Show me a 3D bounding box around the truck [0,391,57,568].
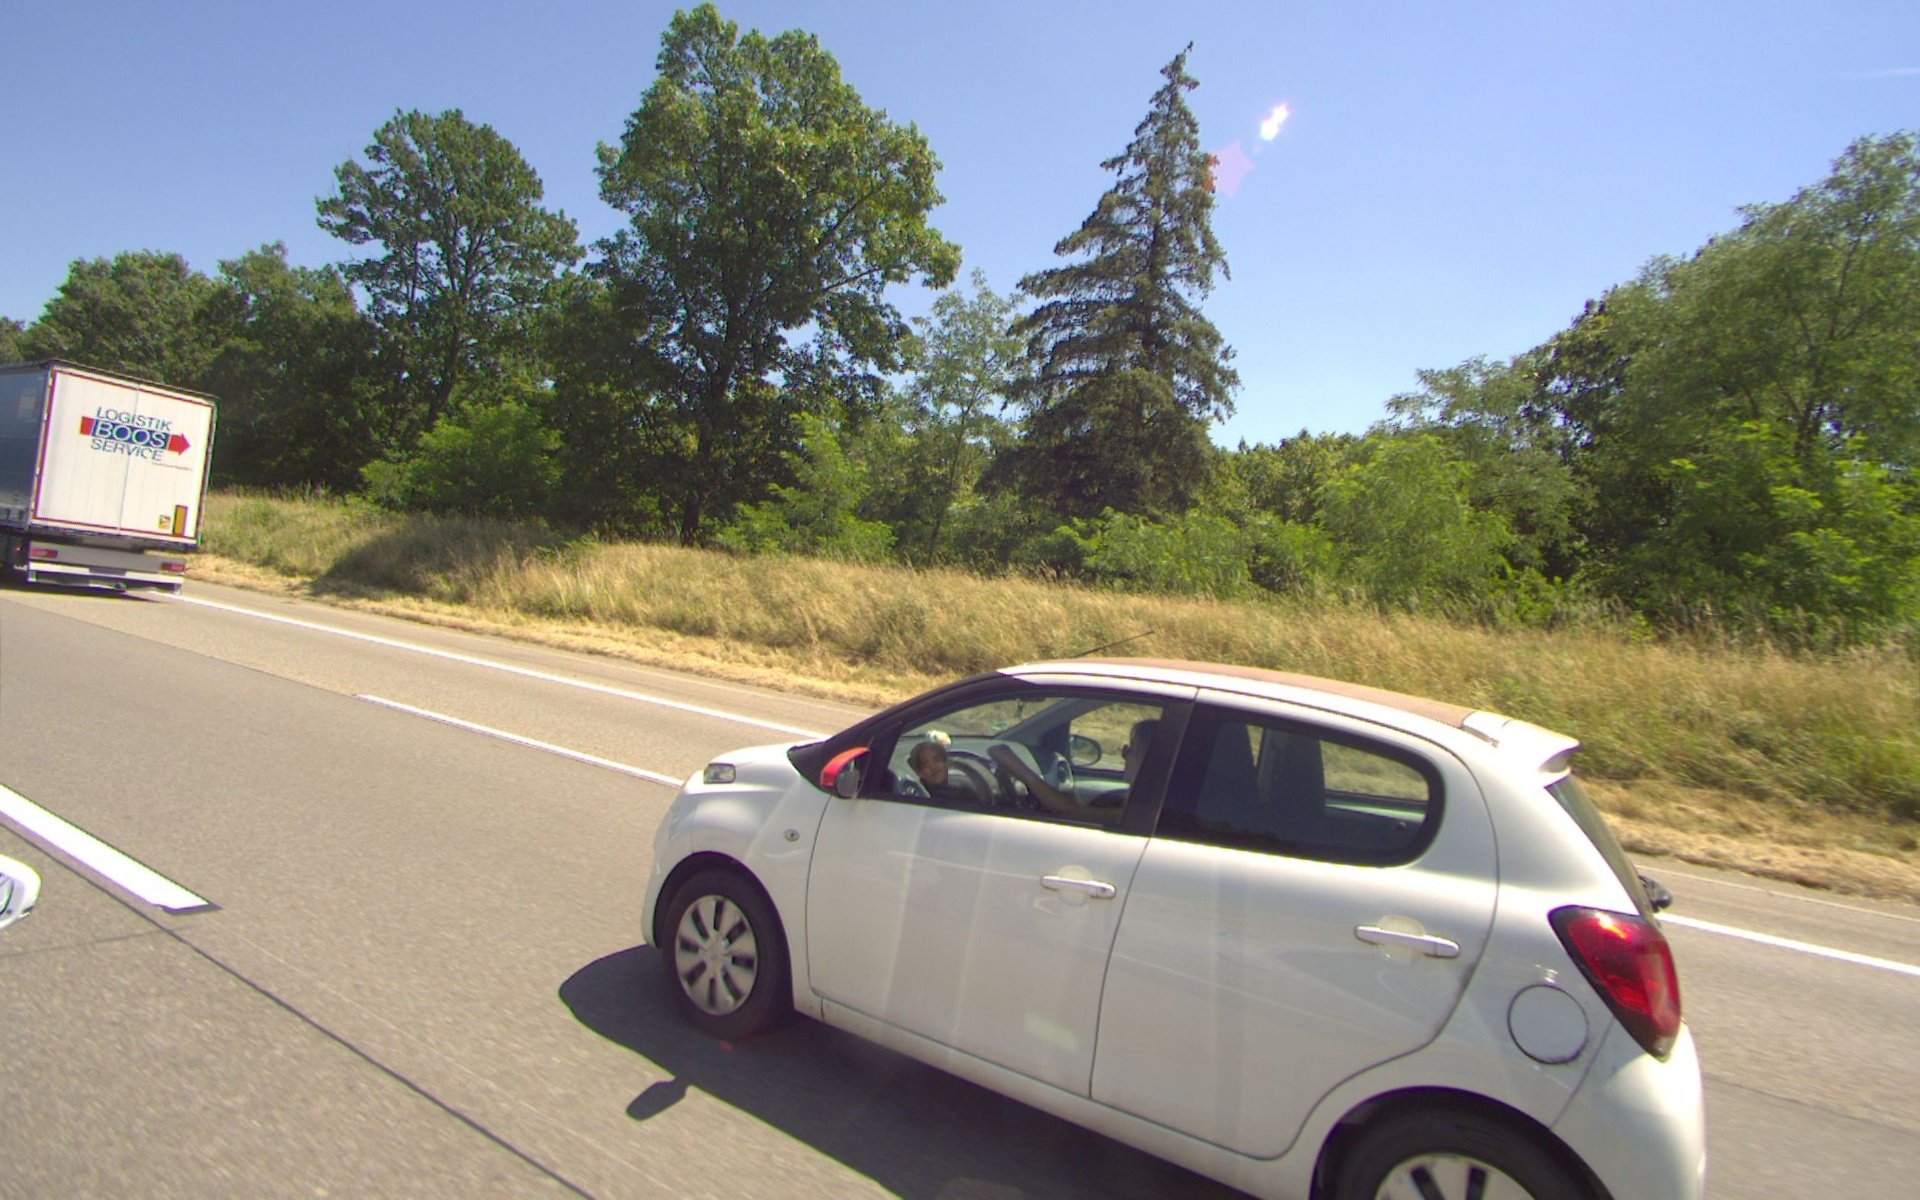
[{"bbox_3d":[-26.822,-3.385,25.995,5.908,4.268,3.292,6,-2,32],"label":"truck"}]

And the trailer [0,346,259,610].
[{"bbox_3d":[-20.773,-2.698,22.220,13.340,4.268,3.292,6,-2,32],"label":"trailer"}]

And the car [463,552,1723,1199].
[{"bbox_3d":[0.180,0.825,3.757,3.957,1.513,1.711,7,-1,32],"label":"car"}]
